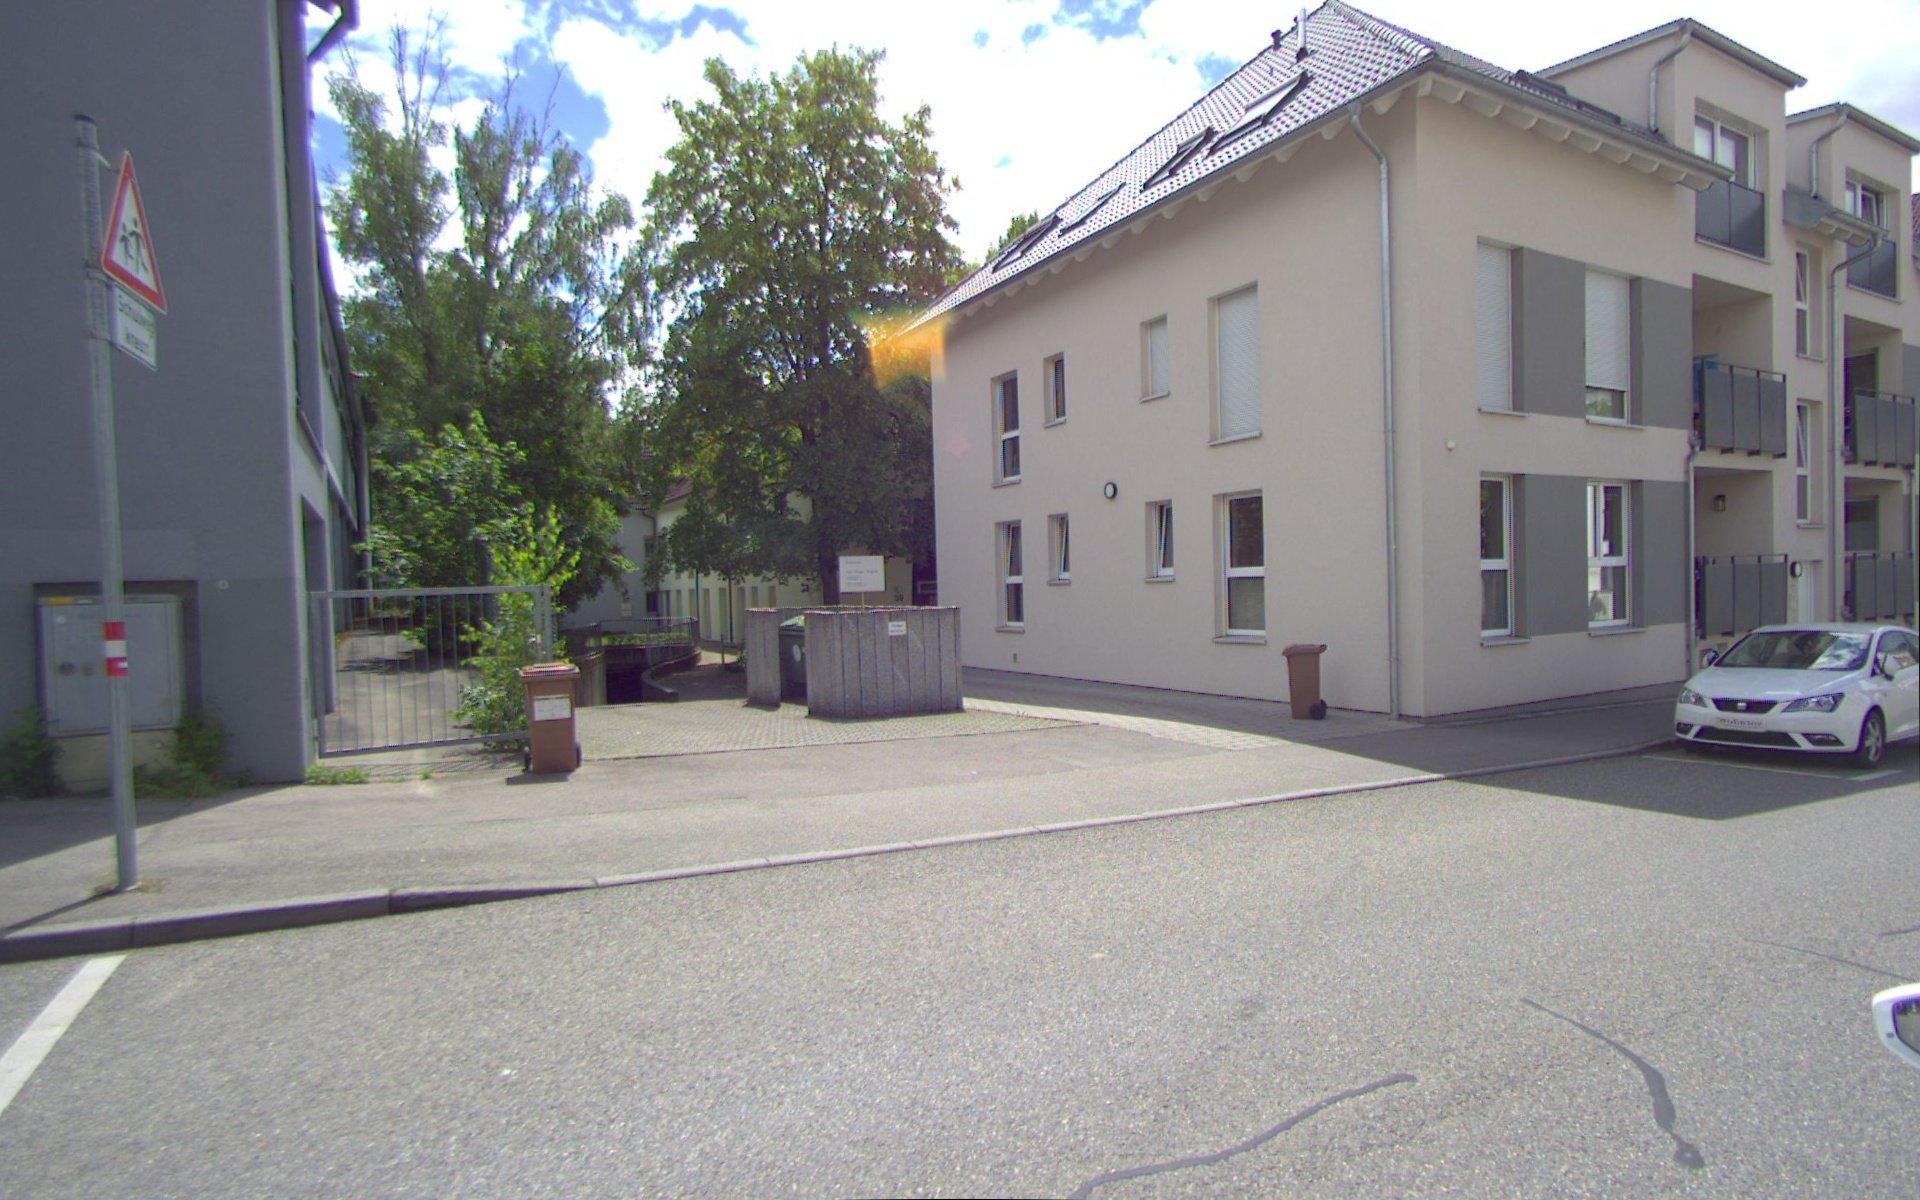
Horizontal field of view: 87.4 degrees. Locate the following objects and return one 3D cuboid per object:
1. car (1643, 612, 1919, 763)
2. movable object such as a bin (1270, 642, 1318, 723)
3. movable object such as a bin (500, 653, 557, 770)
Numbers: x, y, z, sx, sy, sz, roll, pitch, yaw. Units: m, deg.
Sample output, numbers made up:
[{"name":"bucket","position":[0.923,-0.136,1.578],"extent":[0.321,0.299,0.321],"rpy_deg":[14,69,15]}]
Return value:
[{"name":"car","position":[9.473,0.856,11.248],"extent":[3.655,1.437,1.639],"rpy_deg":[0,0,-31]},{"name":"movable object such as a bin","position":[4.182,1.023,12.585],"extent":[0.387,0.966,0.411],"rpy_deg":[0,0,-33]},{"name":"movable object such as a bin","position":[-3.703,0.940,8.618],"extent":[0.395,0.941,0.452],"rpy_deg":[0,-1,-31]}]
